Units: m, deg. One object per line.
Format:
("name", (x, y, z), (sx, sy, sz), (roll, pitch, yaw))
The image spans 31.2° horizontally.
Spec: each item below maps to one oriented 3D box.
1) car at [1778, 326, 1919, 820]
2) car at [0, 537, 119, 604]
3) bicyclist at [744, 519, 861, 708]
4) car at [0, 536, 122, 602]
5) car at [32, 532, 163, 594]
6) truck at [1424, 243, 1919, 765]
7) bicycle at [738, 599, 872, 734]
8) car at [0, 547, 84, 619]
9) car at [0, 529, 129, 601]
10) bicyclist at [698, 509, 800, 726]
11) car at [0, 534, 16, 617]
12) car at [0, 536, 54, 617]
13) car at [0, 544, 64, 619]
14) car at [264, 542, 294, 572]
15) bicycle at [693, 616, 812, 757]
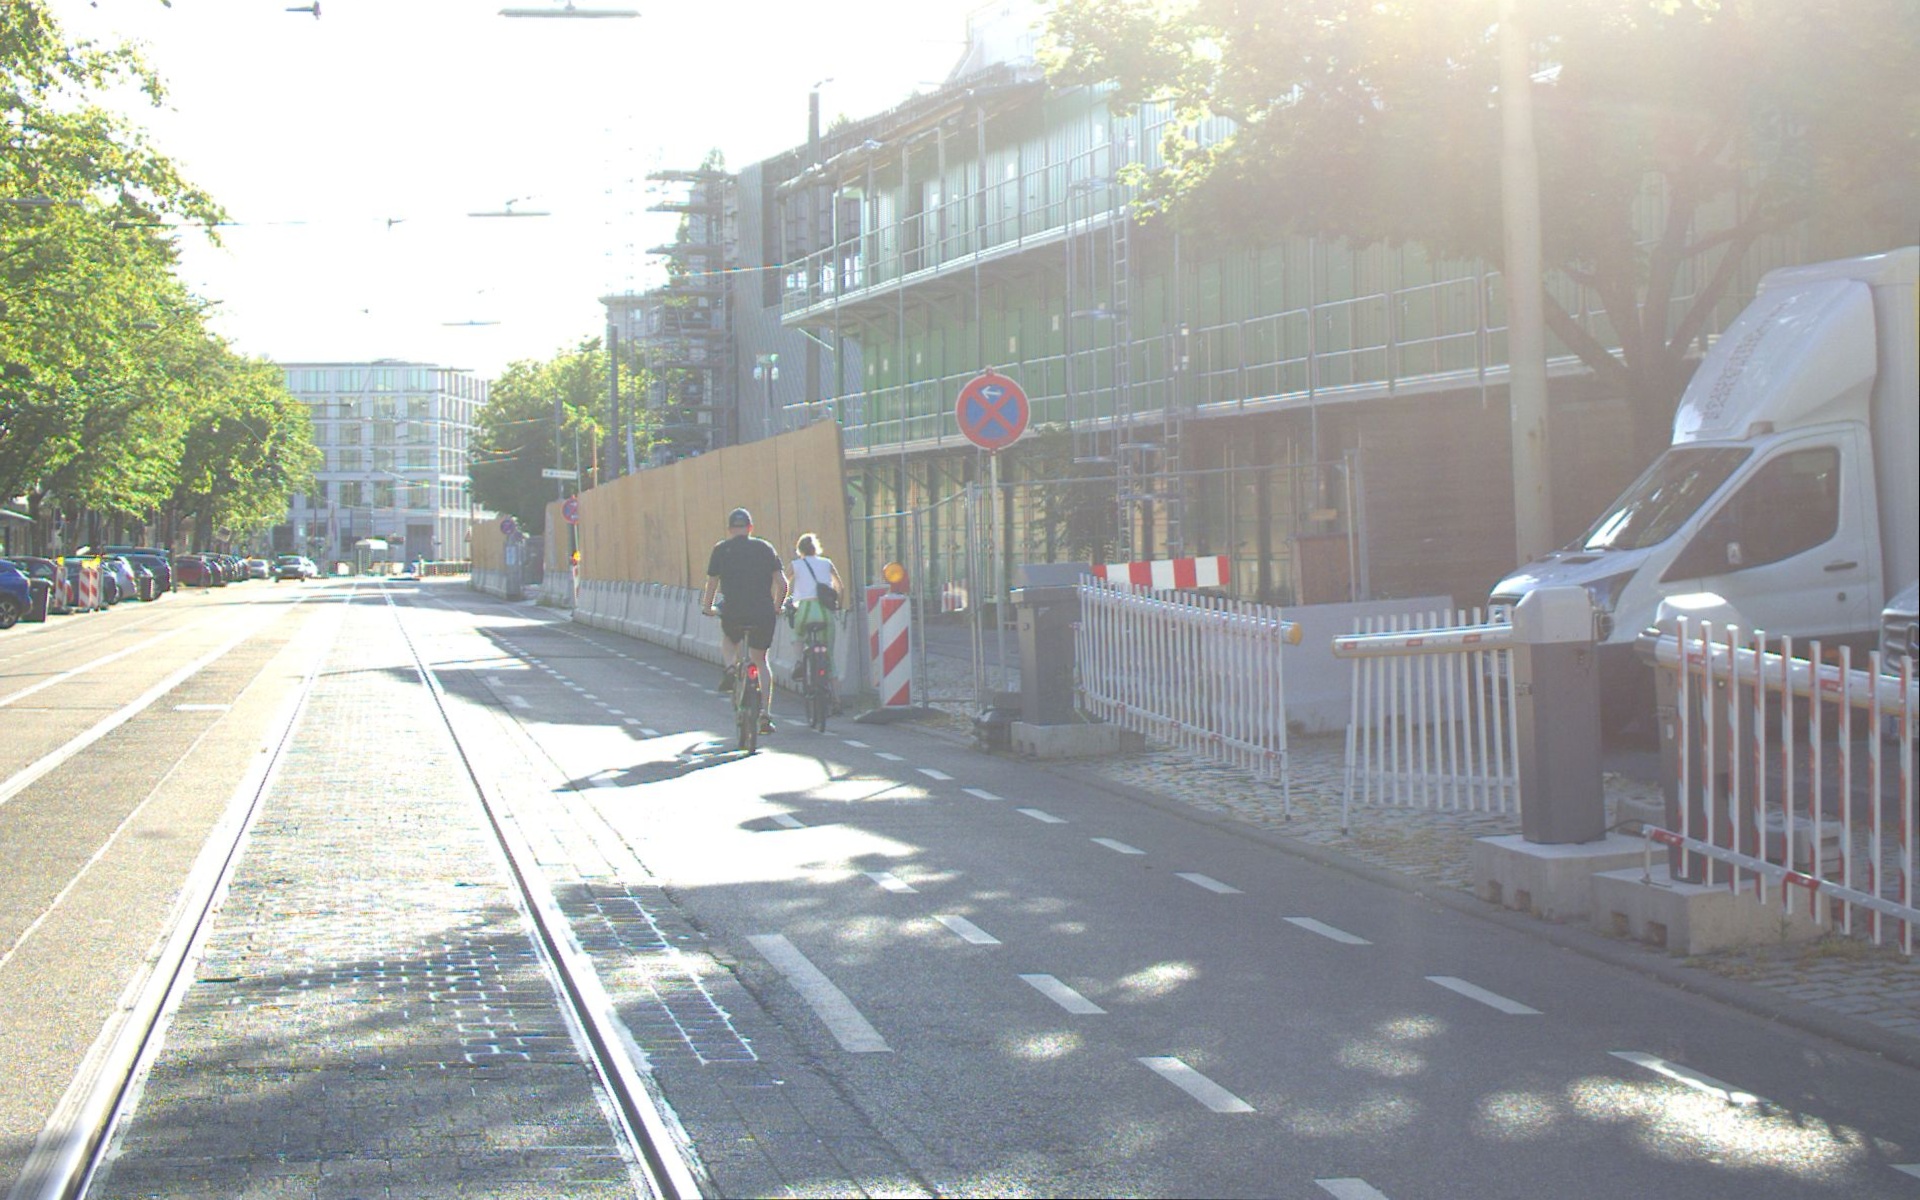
("car", (7.402, -0.318, 18.517), (5.362, 2.522, 2.001), (-4, 2, -12))
("car", (-25.609, -0.833, 95.173), (4.086, 1.748, 1.828), (2, 0, -31))
("bicyclist", (-1.397, 0.111, 30.364), (0.893, 1.634, 1.100), (1, 1, -9))
("car", (-26.314, -0.897, 98.447), (4.086, 1.748, 1.828), (2, 0, -31))
("car", (-30.699, -1.321, 122.410), (4.086, 2.047, 1.828), (2, 0, -31))
("truck", (7.095, -0.763, 24.203), (7.095, 3.336, 2.391), (-2, 1, -9))
("bicycle", (-1.382, 0.563, 30.229), (0.893, 1.089, 2.431), (1, 1, -9))
("car", (-24.577, -0.480, 87.319), (4.086, 1.748, 1.828), (2, 0, -31))
("car", (-27.833, -1.067, 105.470), (4.086, 2.047, 1.828), (2, 0, -31))
("bicyclist", (-1.647, 0.128, 26.802), (0.680, 1.652, 0.812), (-1, 1, -10))
("car", (-22.228, -0.593, 72.464), (4.086, 1.748, 1.828), (2, 0, -31))
("car", (-22.437, -0.588, 76.293), (4.086, 1.748, 1.828), (2, 0, -31))
("car", (-23.863, -0.502, 82.675), (4.086, 1.748, 1.828), (2, 0, -31))
("car", (-43.110, -2.700, 217.565), (1.680, 1.831, 3.873), (2, 0, -13))
("bicycle", (-1.628, 0.652, 26.752), (0.680, 1.015, 1.922), (-1, 1, -10))
